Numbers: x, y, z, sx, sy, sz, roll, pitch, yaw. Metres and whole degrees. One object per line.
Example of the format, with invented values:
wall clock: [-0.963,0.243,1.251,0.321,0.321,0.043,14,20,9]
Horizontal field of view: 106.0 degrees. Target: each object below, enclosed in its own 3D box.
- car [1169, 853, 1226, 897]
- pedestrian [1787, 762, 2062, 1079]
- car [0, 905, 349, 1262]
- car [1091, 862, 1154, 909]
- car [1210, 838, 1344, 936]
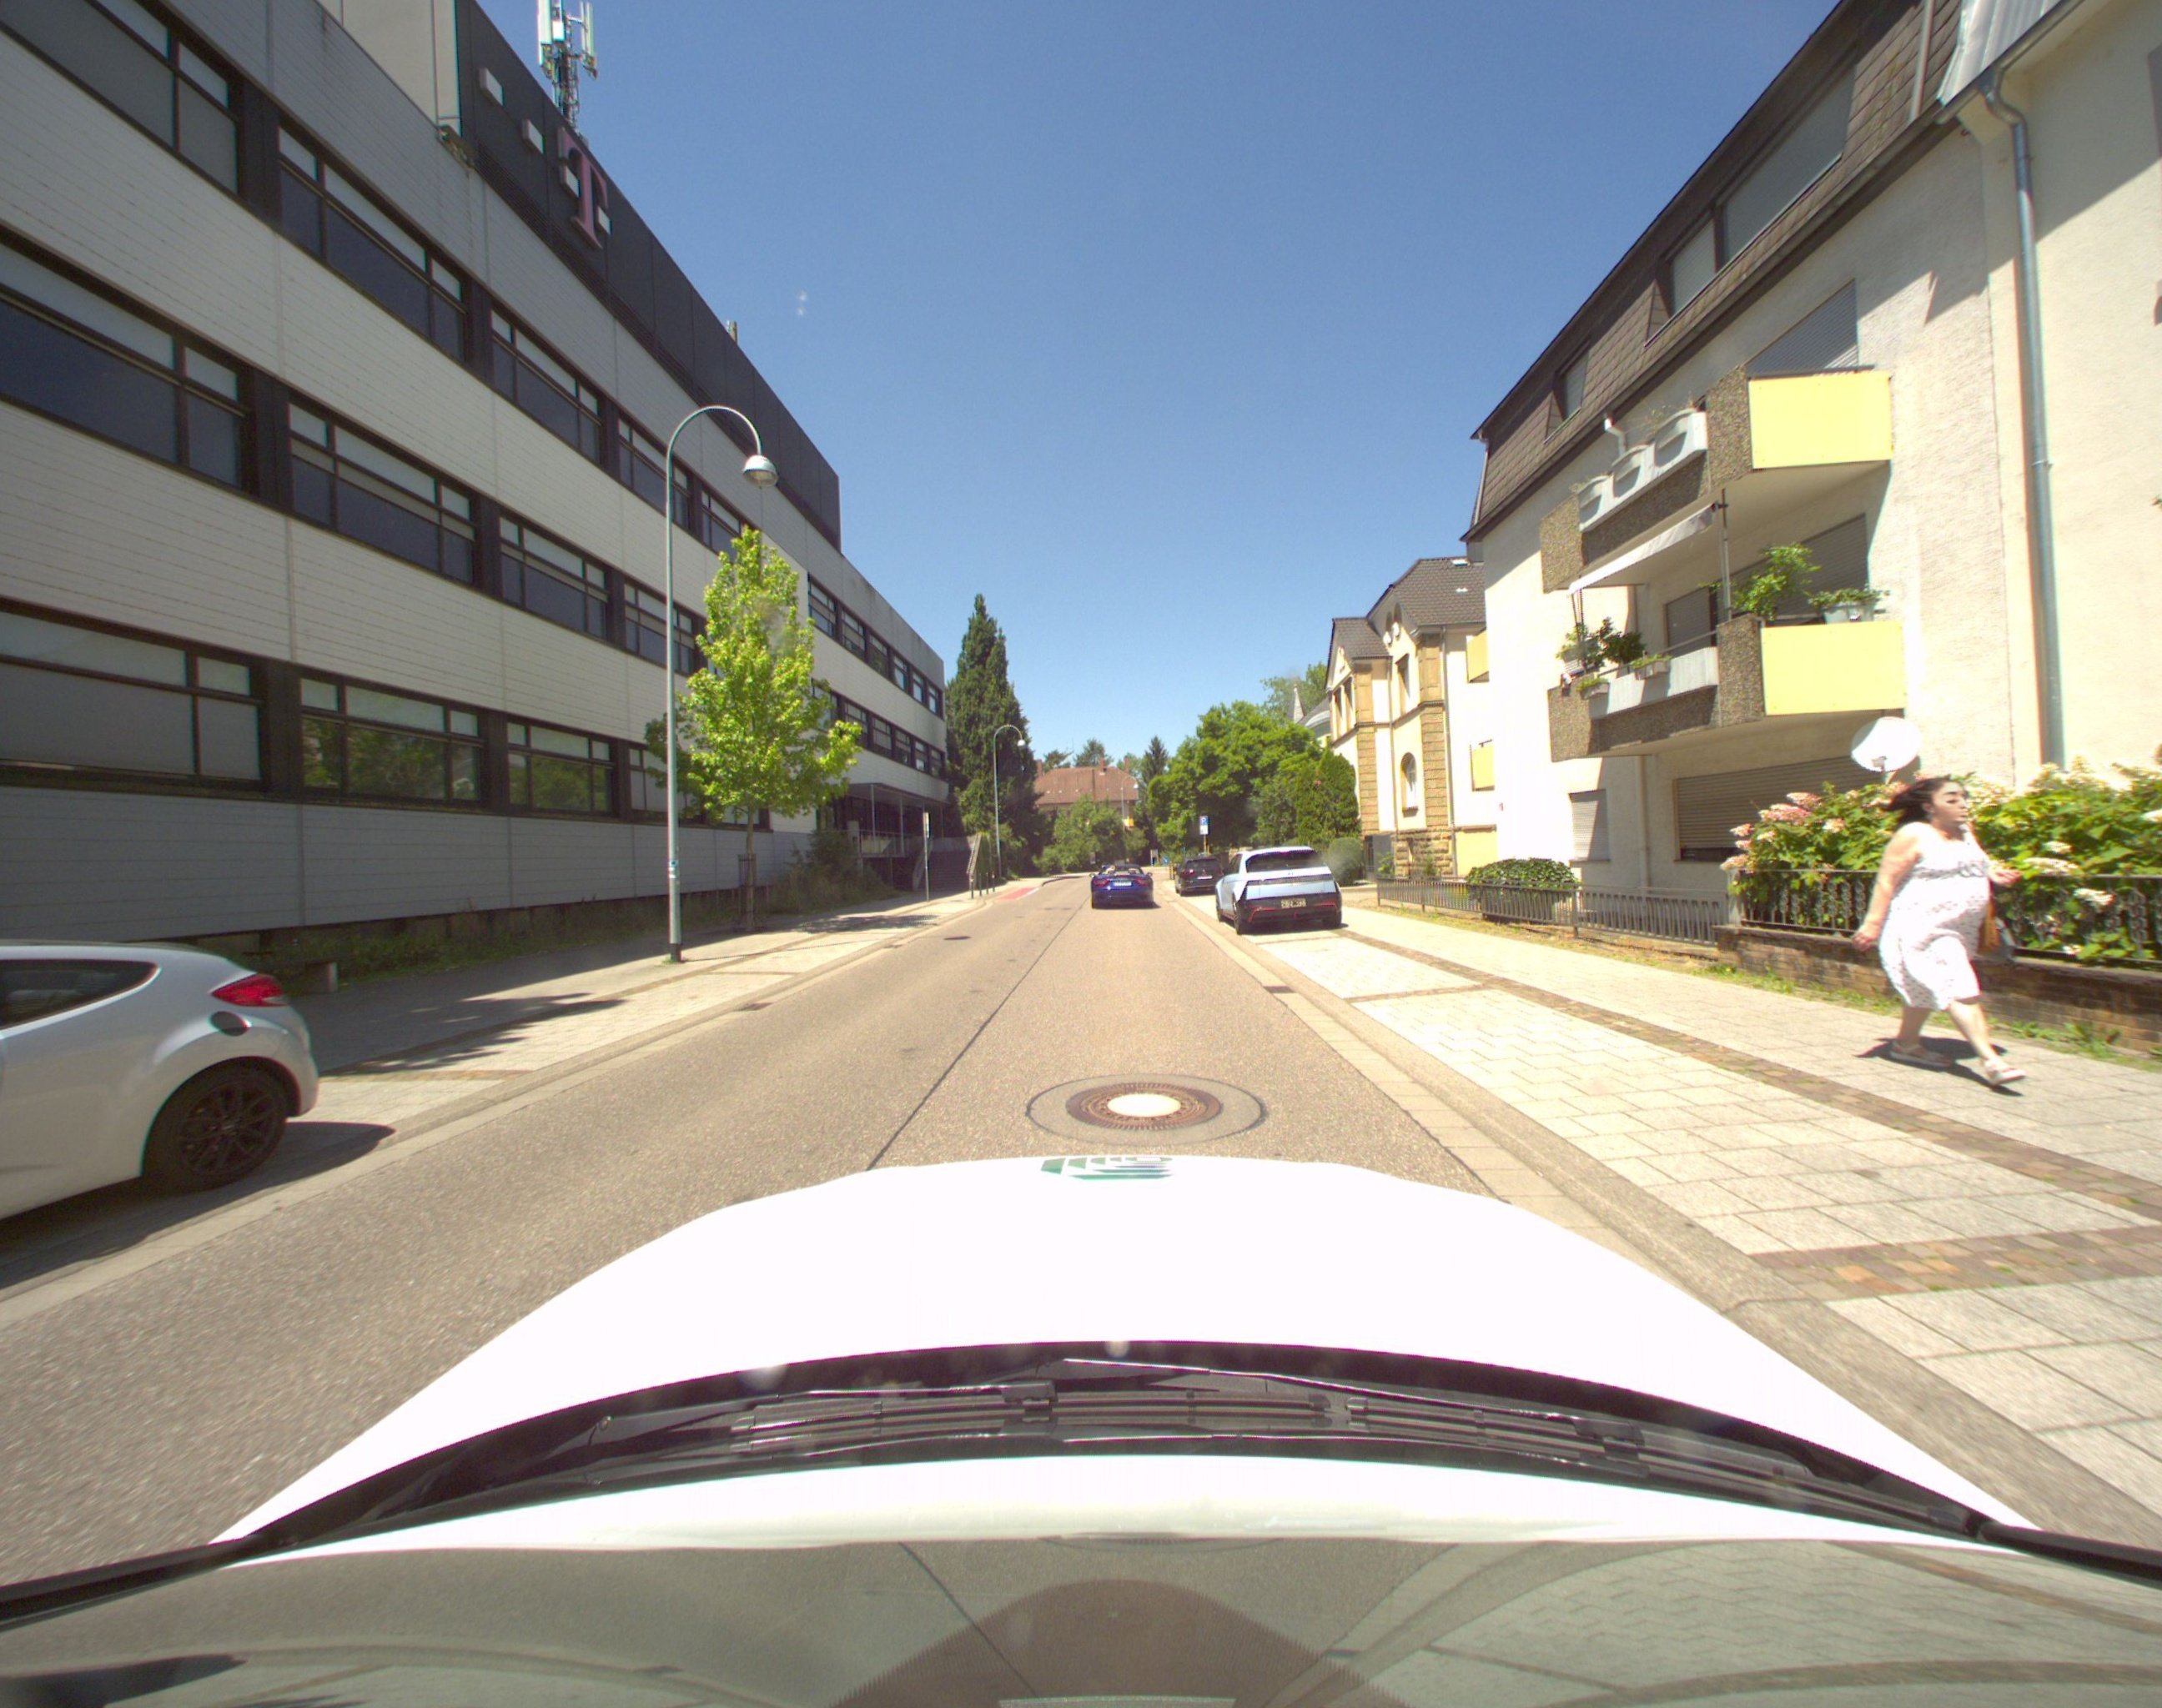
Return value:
car: [4.411,0.758,31.337,1.625,1.446,4.401,-5,0,3]
pedestrian: [4.901,0.363,4.792,0.738,1.669,0.706,-5,-1,1]
car: [-5.465,1.033,3.031,1.740,1.409,3.937,-1,0,4]
car: [1.320,0.949,26.189,1.819,1.337,4.703,-1,-1,3]
car: [3.849,0.598,16.775,1.836,1.619,4.431,-4,0,3]
